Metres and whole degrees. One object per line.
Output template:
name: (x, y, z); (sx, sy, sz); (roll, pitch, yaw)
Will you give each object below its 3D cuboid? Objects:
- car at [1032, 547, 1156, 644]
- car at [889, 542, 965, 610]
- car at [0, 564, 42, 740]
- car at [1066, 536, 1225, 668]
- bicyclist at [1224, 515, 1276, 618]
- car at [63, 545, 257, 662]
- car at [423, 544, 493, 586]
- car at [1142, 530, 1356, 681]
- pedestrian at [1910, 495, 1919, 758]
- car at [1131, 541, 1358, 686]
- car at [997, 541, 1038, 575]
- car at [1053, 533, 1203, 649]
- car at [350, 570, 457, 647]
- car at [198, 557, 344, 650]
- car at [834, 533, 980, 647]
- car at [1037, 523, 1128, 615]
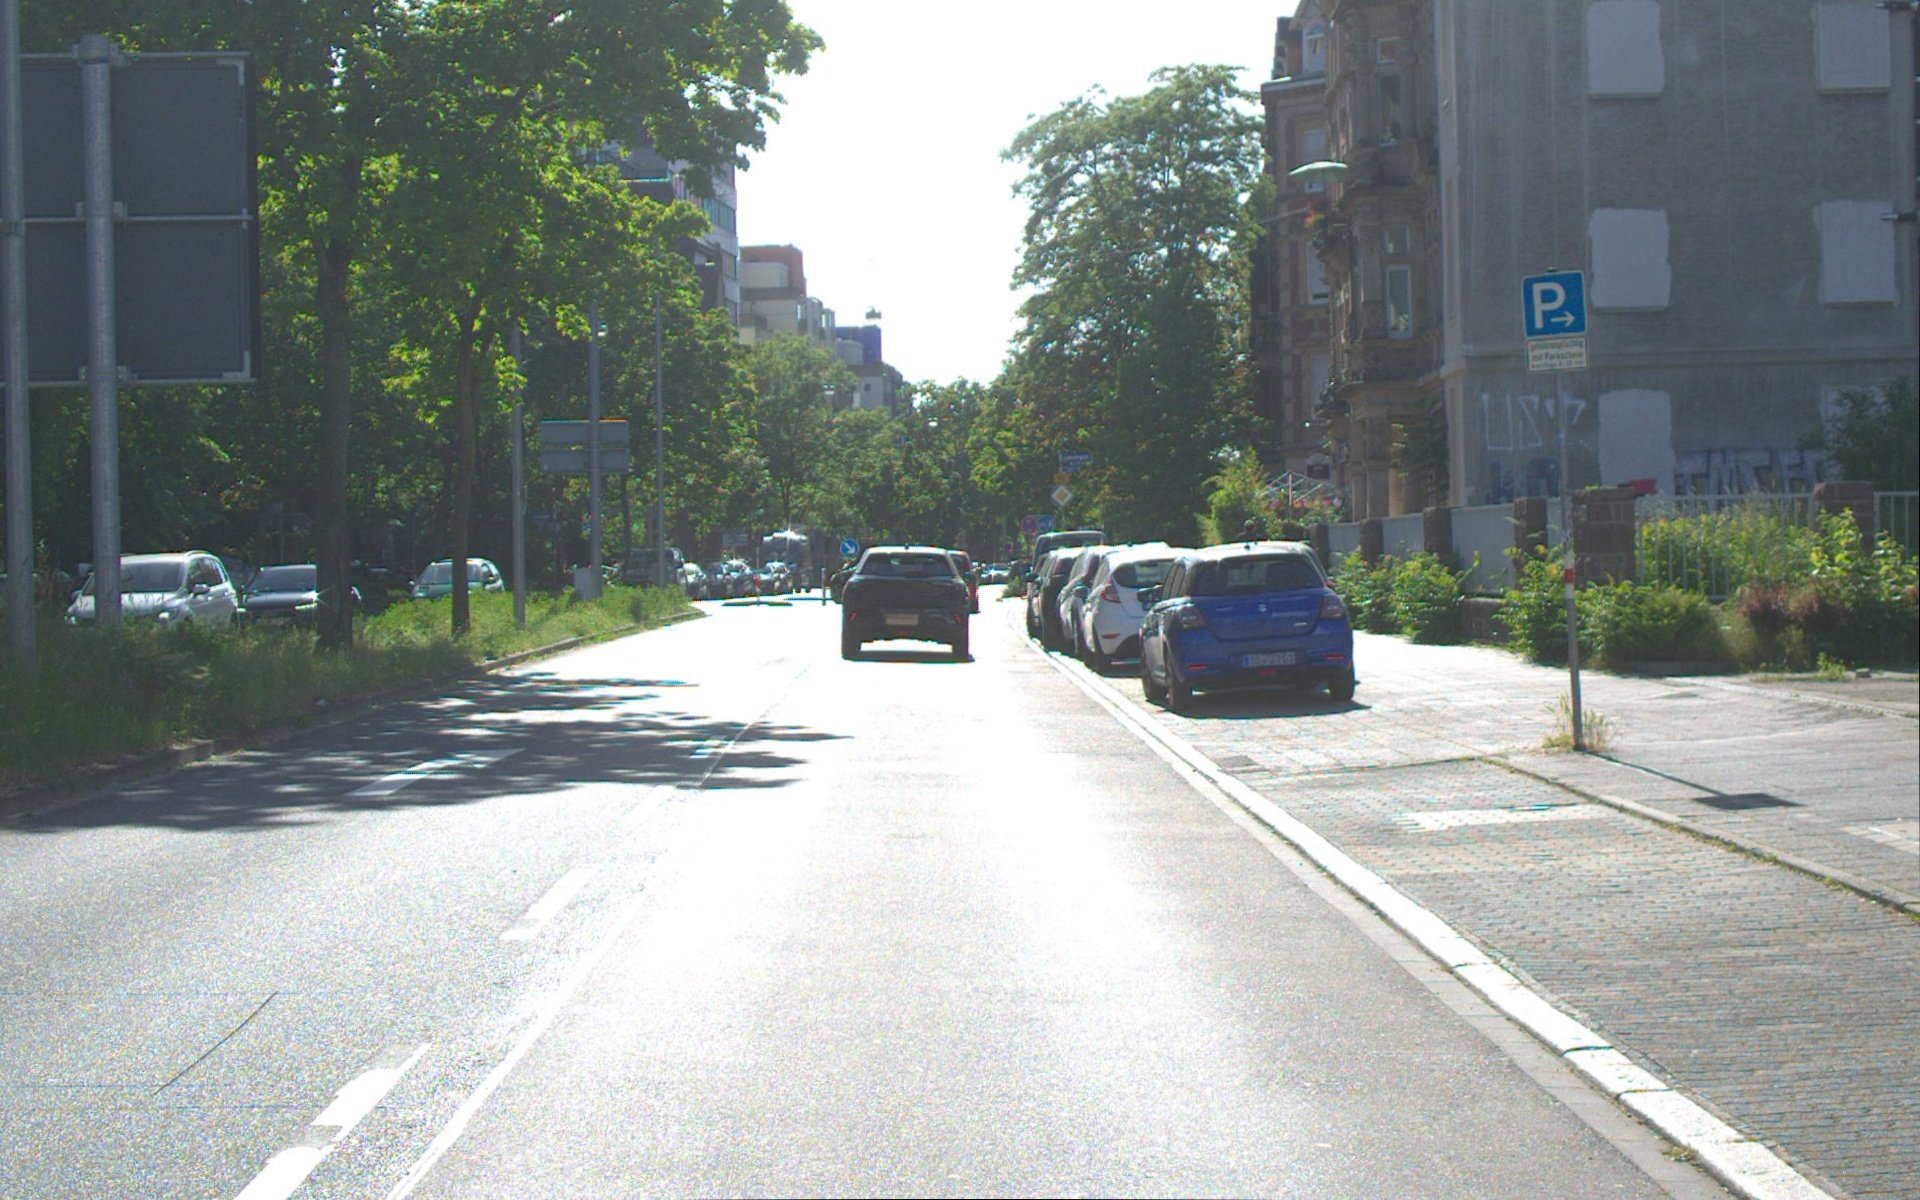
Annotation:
car: (2.056, -0.101, 53.631); (1.668, 1.389, 3.775); (-1, 1, -1)
car: (-0.800, -0.609, 83.145); (1.792, 1.515, 3.850); (0, 2, -1)
car: (-9.671, 0.454, 30.817); (1.753, 1.612, 4.323); (0, -2, 0)
car: (2.271, -0.012, 42.903); (1.608, 1.441, 3.659); (-4, 2, -1)
bicyclist: (4.533, -0.528, 53.771); (0.741, 1.574, 1.100); (0, 2, 2)
car: (-11.902, 0.014, 51.423); (1.900, 1.620, 4.537); (-2, 1, -1)
car: (-20.297, -1.413, 138.938); (1.974, 1.656, 4.001); (-2, 1, -20)
car: (3.131, 0.015, 37.967); (1.668, 1.455, 3.987); (-4, 2, -4)
pedestrian: (5.991, 0.167, 19.768); (0.743, 1.578, 0.897); (-2, 1, 0)
car: (2.693, 0.091, 33.345); (1.668, 1.178, 3.901); (-4, 2, -2)
car: (2.883, -2.120, 171.540); (1.920, 1.634, 4.000); (-1, 1, 2)
car: (2.321, -0.160, 48.228); (1.667, 1.514, 3.662); (-1, 1, -3)
car: (-11.714, 0.161, 72.562); (1.638, 1.514, 4.259); (-1, 1, -1)
car: (-12.119, 0.056, 60.672); (1.795, 1.514, 4.087); (-2, 0, -1)
car: (-0.794, -0.173, 48.640); (1.894, 1.514, 4.001); (1, 1, -3)
car: (2.594, -0.683, 72.511); (1.819, 1.837, 4.364); (-1, 1, 2)
